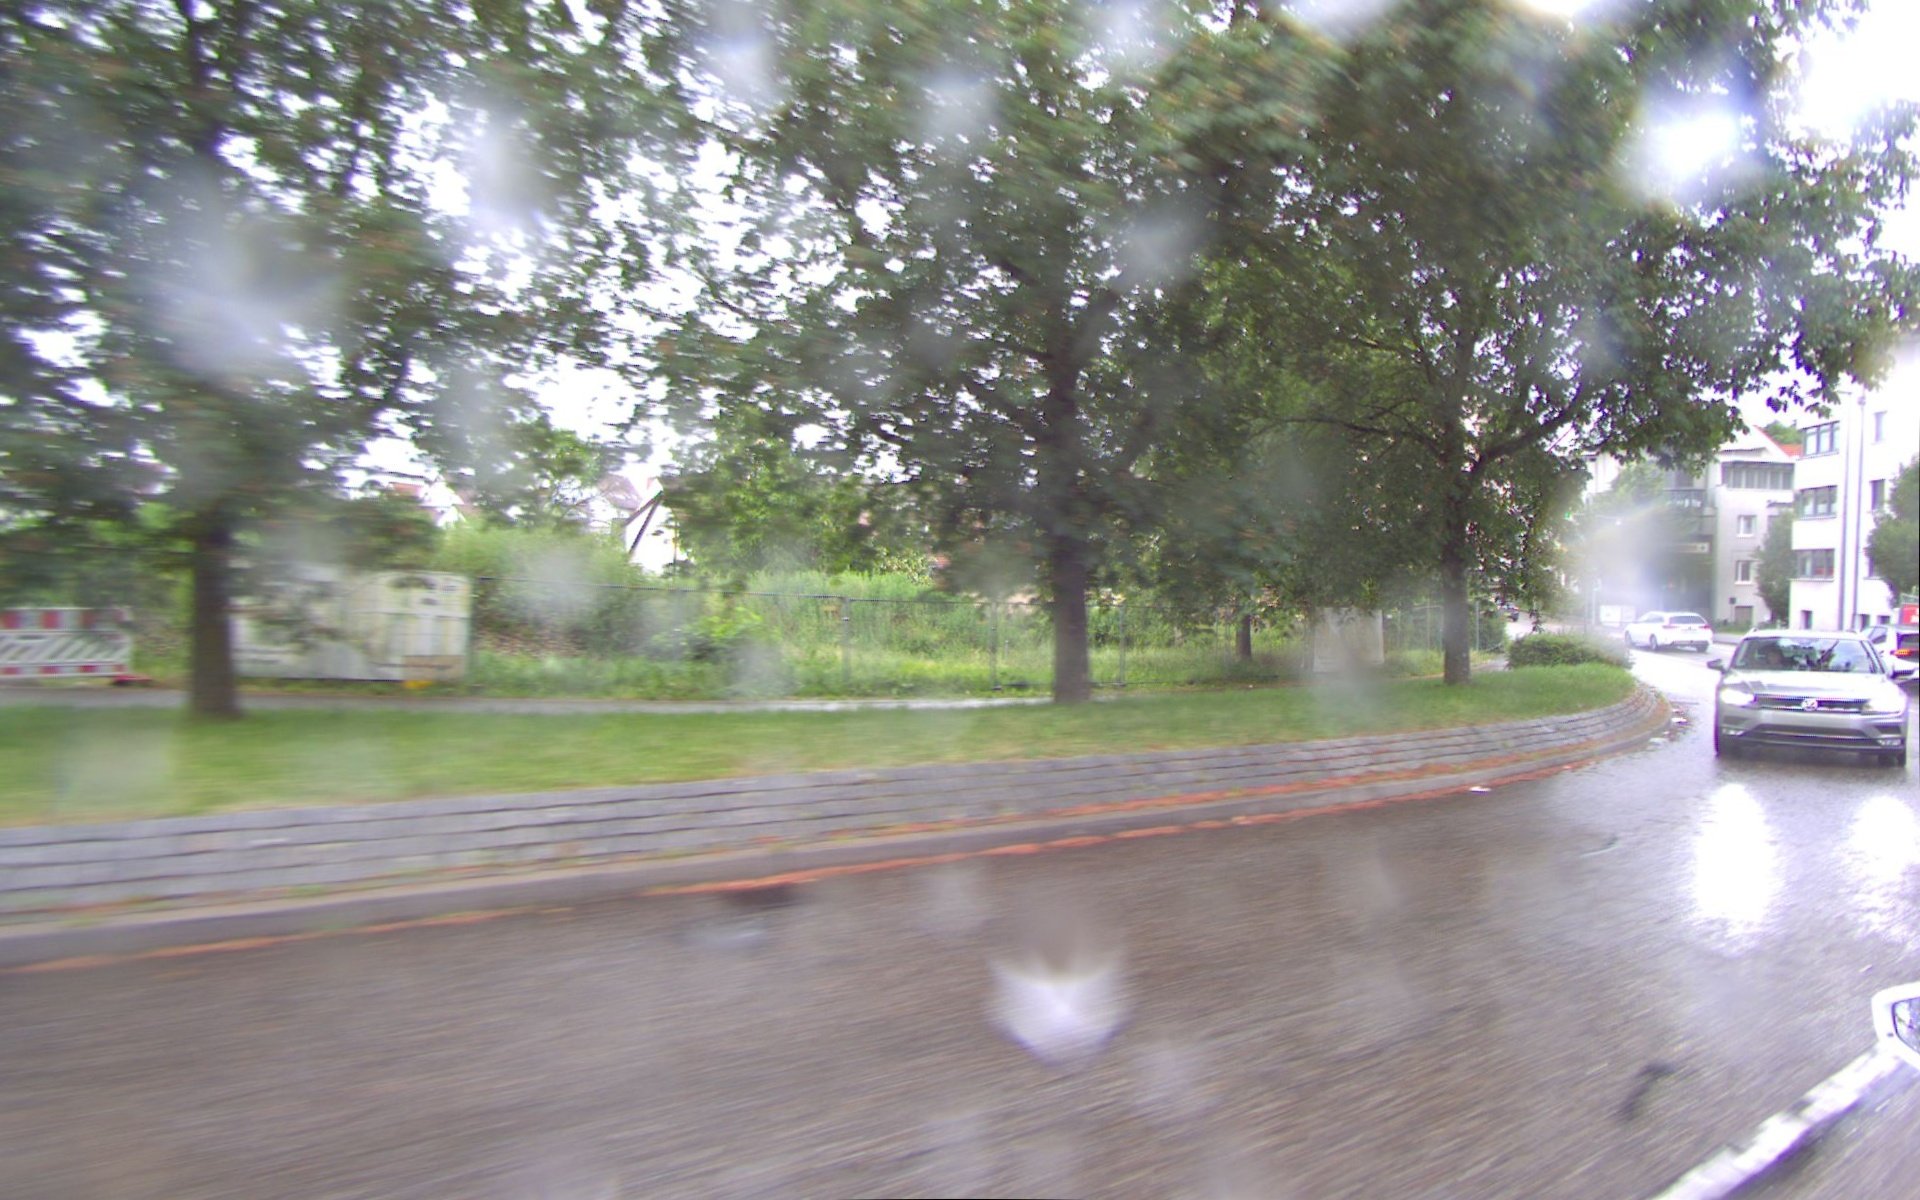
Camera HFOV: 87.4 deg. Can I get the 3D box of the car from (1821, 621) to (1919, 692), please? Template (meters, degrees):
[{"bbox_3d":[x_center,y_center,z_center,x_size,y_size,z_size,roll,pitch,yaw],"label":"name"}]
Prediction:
[{"bbox_3d":[22.274,1.292,23.793,1.789,1.378,3.985,1,2,25],"label":"car"}]

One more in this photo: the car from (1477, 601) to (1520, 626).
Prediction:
[{"bbox_3d":[36.092,0.878,67.347,1.861,1.612,3.688,0,1,17],"label":"car"}]

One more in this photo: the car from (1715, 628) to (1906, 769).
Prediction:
[{"bbox_3d":[11.332,1.191,13.422,1.708,1.563,4.279,-1,-3,41],"label":"car"}]

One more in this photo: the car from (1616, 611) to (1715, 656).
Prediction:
[{"bbox_3d":[27.416,1.277,39.199,1.698,1.611,4.186,2,0,14],"label":"car"}]
